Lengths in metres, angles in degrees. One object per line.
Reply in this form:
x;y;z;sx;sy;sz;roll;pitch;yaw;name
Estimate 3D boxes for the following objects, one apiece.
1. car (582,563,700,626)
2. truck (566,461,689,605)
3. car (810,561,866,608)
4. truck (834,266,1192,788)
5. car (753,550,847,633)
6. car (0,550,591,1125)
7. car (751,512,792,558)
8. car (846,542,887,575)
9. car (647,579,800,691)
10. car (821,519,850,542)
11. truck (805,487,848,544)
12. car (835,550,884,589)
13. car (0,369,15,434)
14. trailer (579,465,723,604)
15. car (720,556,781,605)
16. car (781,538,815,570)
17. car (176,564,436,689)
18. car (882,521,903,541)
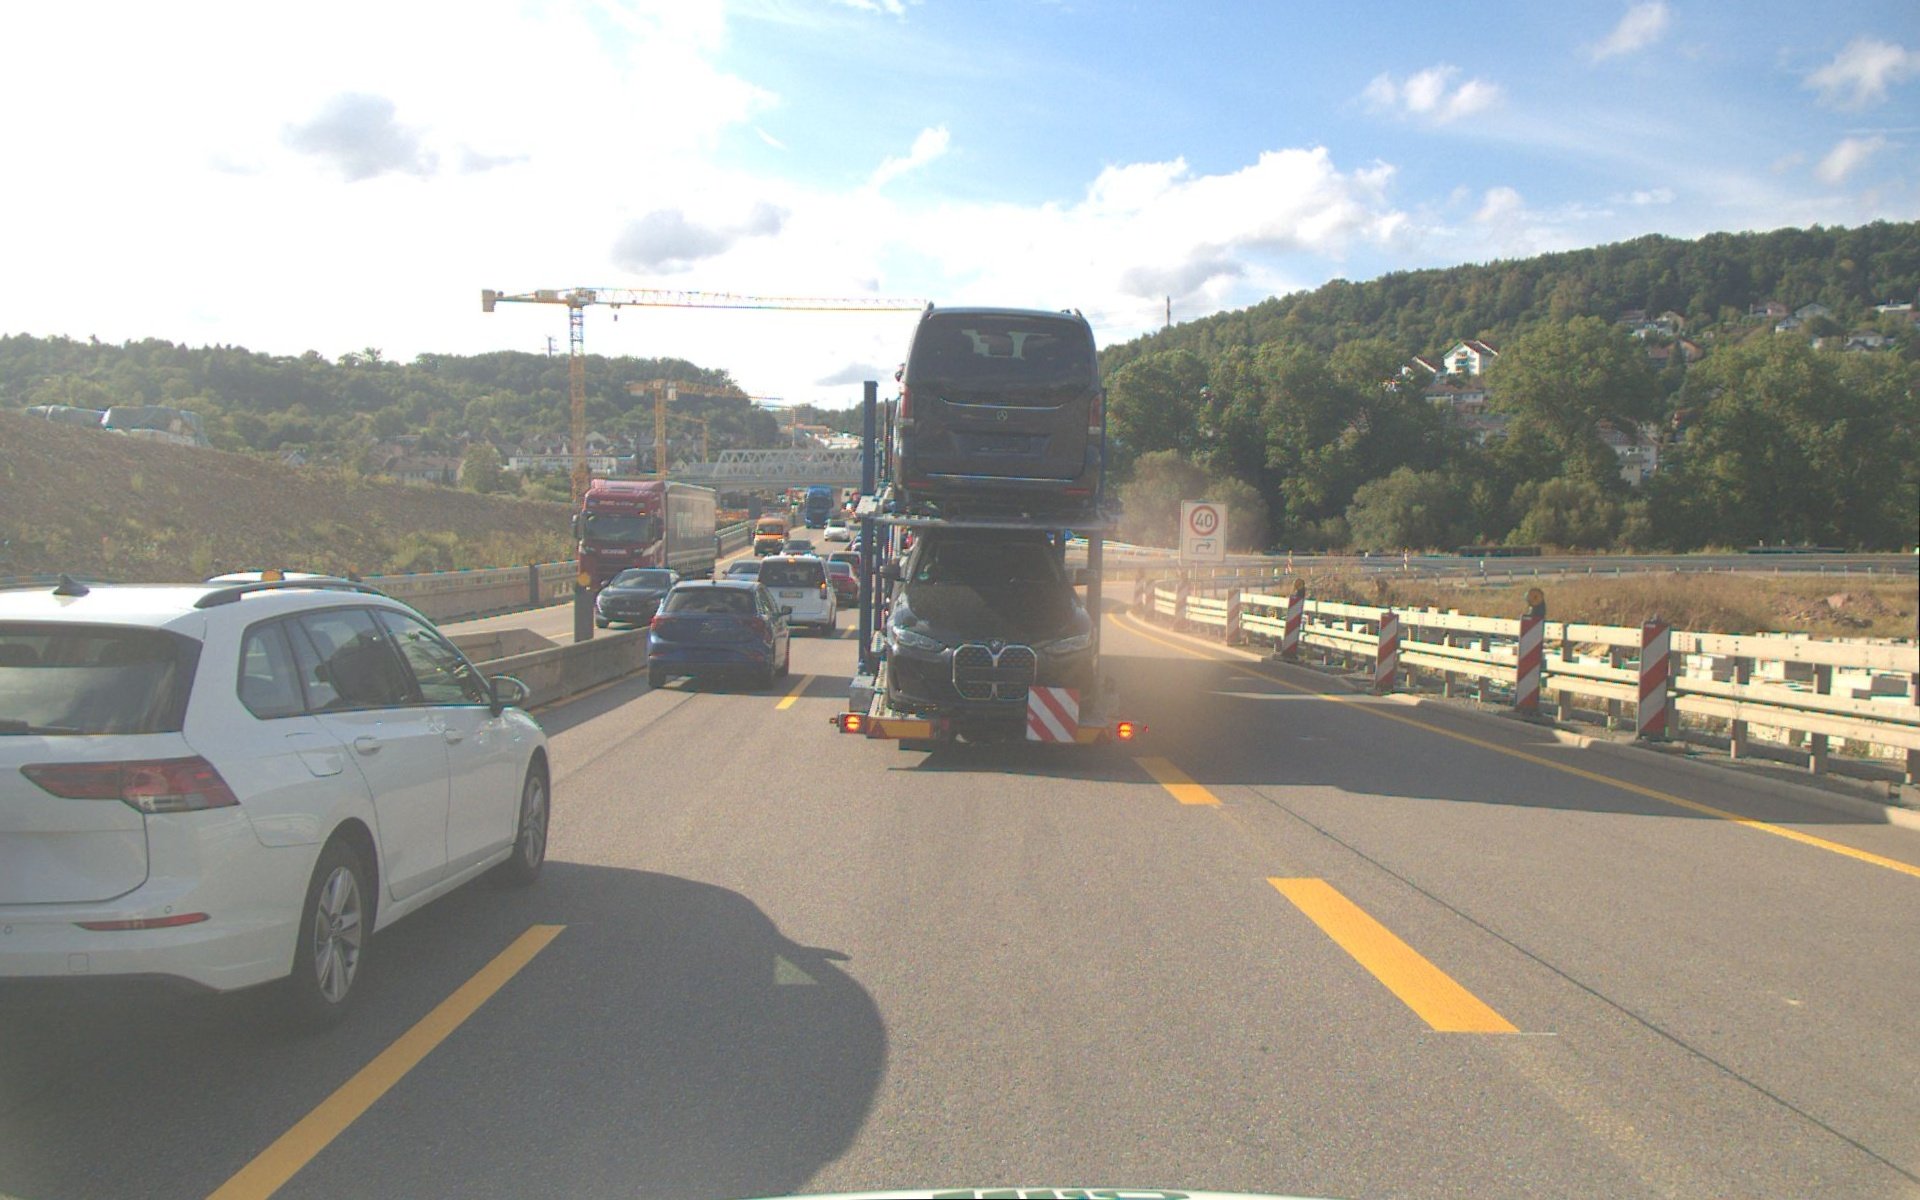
-7.893;-0.144;41.335;1.783;1.465;4.616;1;0;4;car
-11.061;-2.124;55.601;2.855;4.464;6.284;2;0;-2;truck
-4.388;-0.527;60.178;1.954;1.584;4.397;0;-1;-3;car
0.175;-0.806;22.544;2.698;4.023;18.886;2;1;-2;truck
-3.735;-0.156;39.282;1.785;1.823;4.000;1;-1;0;car
-2.830;0.604;6.616;1.734;1.517;4.516;0;0;-1;car
-12.541;-4.269;110.352;1.953;2.929;6.064;1;1;0;car
-4.993;-2.189;88.847;1.953;1.695;4.000;1;1;0;car
-3.265;0.453;23.484;1.687;1.447;3.999;0;0;-2;car
-9.855;-5.516;131.512;1.953;1.713;4.001;1;3;0;car
-13.424;-8.460;167.660;2.763;4.872;13.057;1;-1;2;truck
-4.271;-1.301;70.997;1.953;1.579;3.999;1;1;-2;car
-34.312;-6.936;55.639;1.954;2.177;5.319;-4;-1;-2;car
-11.251;-2.259;61.750;2.916;4.499;13.813;2;1;-1;trailer
-7.557;-0.709;59.988;1.807;1.677;4.502;1;0;-3;car
-8.940;-2.535;91.505;1.808;1.677;4.232;1;0;-5;car
-8.465;0.308;21.779;1.717;1.465;3.806;1;0;3;car
-6.123;-6.203;149.357;1.808;1.677;4.502;1;0;-3;car
